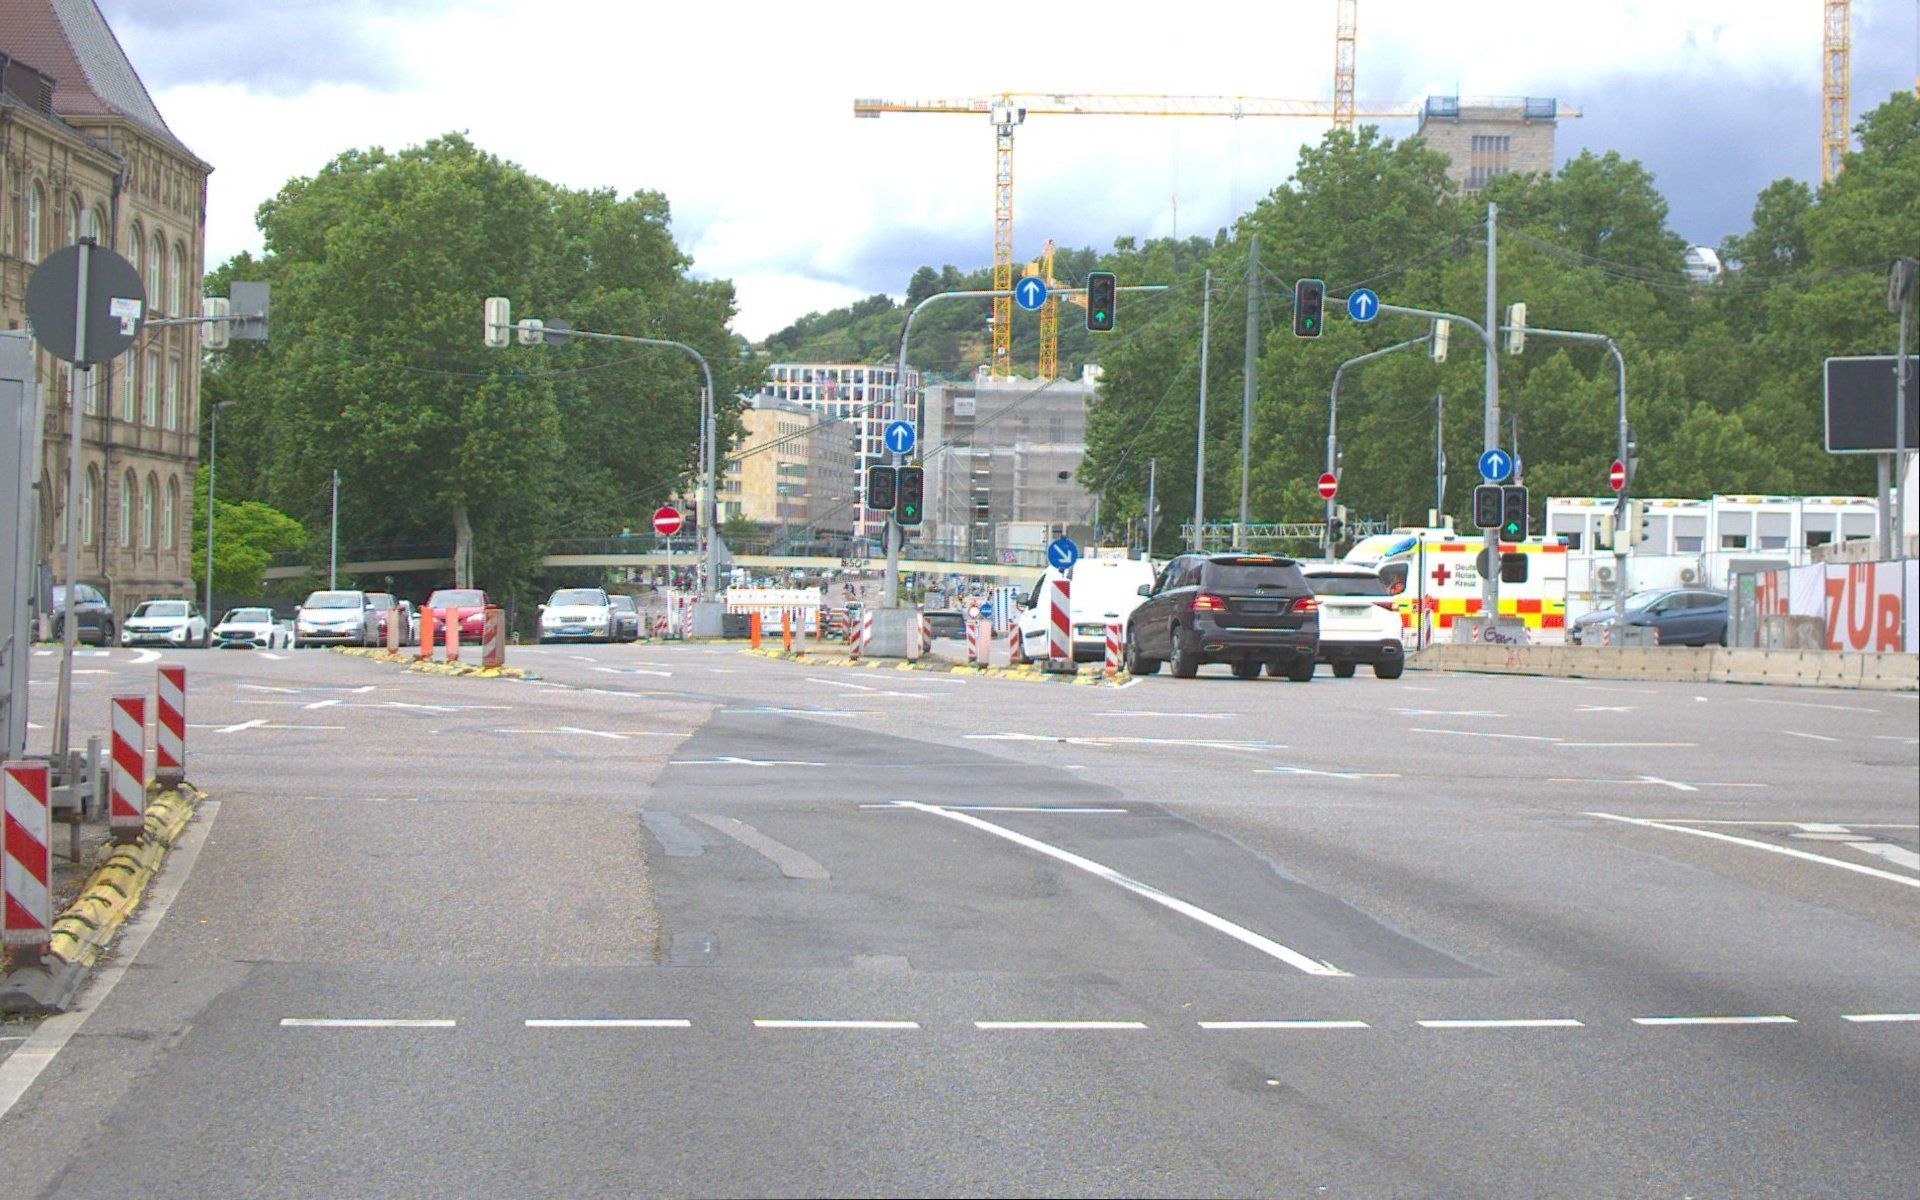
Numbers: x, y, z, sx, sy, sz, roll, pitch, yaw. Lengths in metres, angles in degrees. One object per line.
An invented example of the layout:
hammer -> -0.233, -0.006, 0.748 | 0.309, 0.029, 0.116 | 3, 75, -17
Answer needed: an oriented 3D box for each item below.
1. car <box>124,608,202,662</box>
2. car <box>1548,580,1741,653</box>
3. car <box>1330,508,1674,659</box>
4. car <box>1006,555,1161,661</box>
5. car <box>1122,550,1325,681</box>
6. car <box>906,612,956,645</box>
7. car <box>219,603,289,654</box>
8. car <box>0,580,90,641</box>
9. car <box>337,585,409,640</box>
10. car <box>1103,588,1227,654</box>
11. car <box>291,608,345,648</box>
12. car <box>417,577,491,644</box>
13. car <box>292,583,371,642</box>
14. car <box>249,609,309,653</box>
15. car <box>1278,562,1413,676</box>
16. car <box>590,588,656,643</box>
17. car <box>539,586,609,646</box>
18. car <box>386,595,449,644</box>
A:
car -> -21.934, 0.949, 94.756 | 1.675, 1.393, 3.684 | 1, 1, -7
car -> 15.860, 0.389, 79.685 | 3.986, 1.619, 1.823 | 1, 0, -19
car -> 11.351, -0.331, 72.042 | 6.735, 3.041, 2.373 | 1, 0, -18
car -> 1.954, 0.104, 55.526 | 1.816, 1.619, 4.001 | 1, 1, -8
car -> 3.663, 0.188, 48.479 | 1.831, 1.740, 4.257 | 1, 1, -10
car -> -1.069, 1.041, 125.211 | 1.308, 1.071, 3.684 | 1, 1, -8
car -> -22.104, 0.875, 107.725 | 1.675, 1.393, 3.684 | 2, 2, -5
car -> -22.237, 0.235, 83.461 | 1.675, 1.393, 3.684 | 1, 1, -7
car -> -15.660, 0.327, 91.790 | 1.675, 1.393, 3.684 | 1, 1, -7
car -> 4.507, 0.455, 75.988 | 1.675, 1.393, 3.087 | 1, 1, -19
car -> -23.792, 1.030, 127.474 | 1.675, 1.393, 3.684 | 1, 1, -7
car -> -12.446, 0.251, 84.718 | 1.675, 1.575, 3.684 | 1, 1, -7
car -> -15.640, 0.288, 85.628 | 1.675, 1.393, 3.684 | 1, 1, -7
car -> -22.888, 1.030, 115.699 | 1.675, 1.393, 3.684 | 1, 1, -7
car -> 5.982, 0.266, 53.647 | 1.676, 1.696, 3.374 | 1, 1, -1
car -> -9.045, 0.393, 91.999 | 1.675, 1.393, 3.684 | 1, 1, -7
car -> -9.559, 0.379, 85.067 | 1.675, 1.393, 3.684 | 1, 1, -7
car -> -16.109, 0.564, 102.175 | 1.675, 1.393, 3.684 | 1, 1, -7
